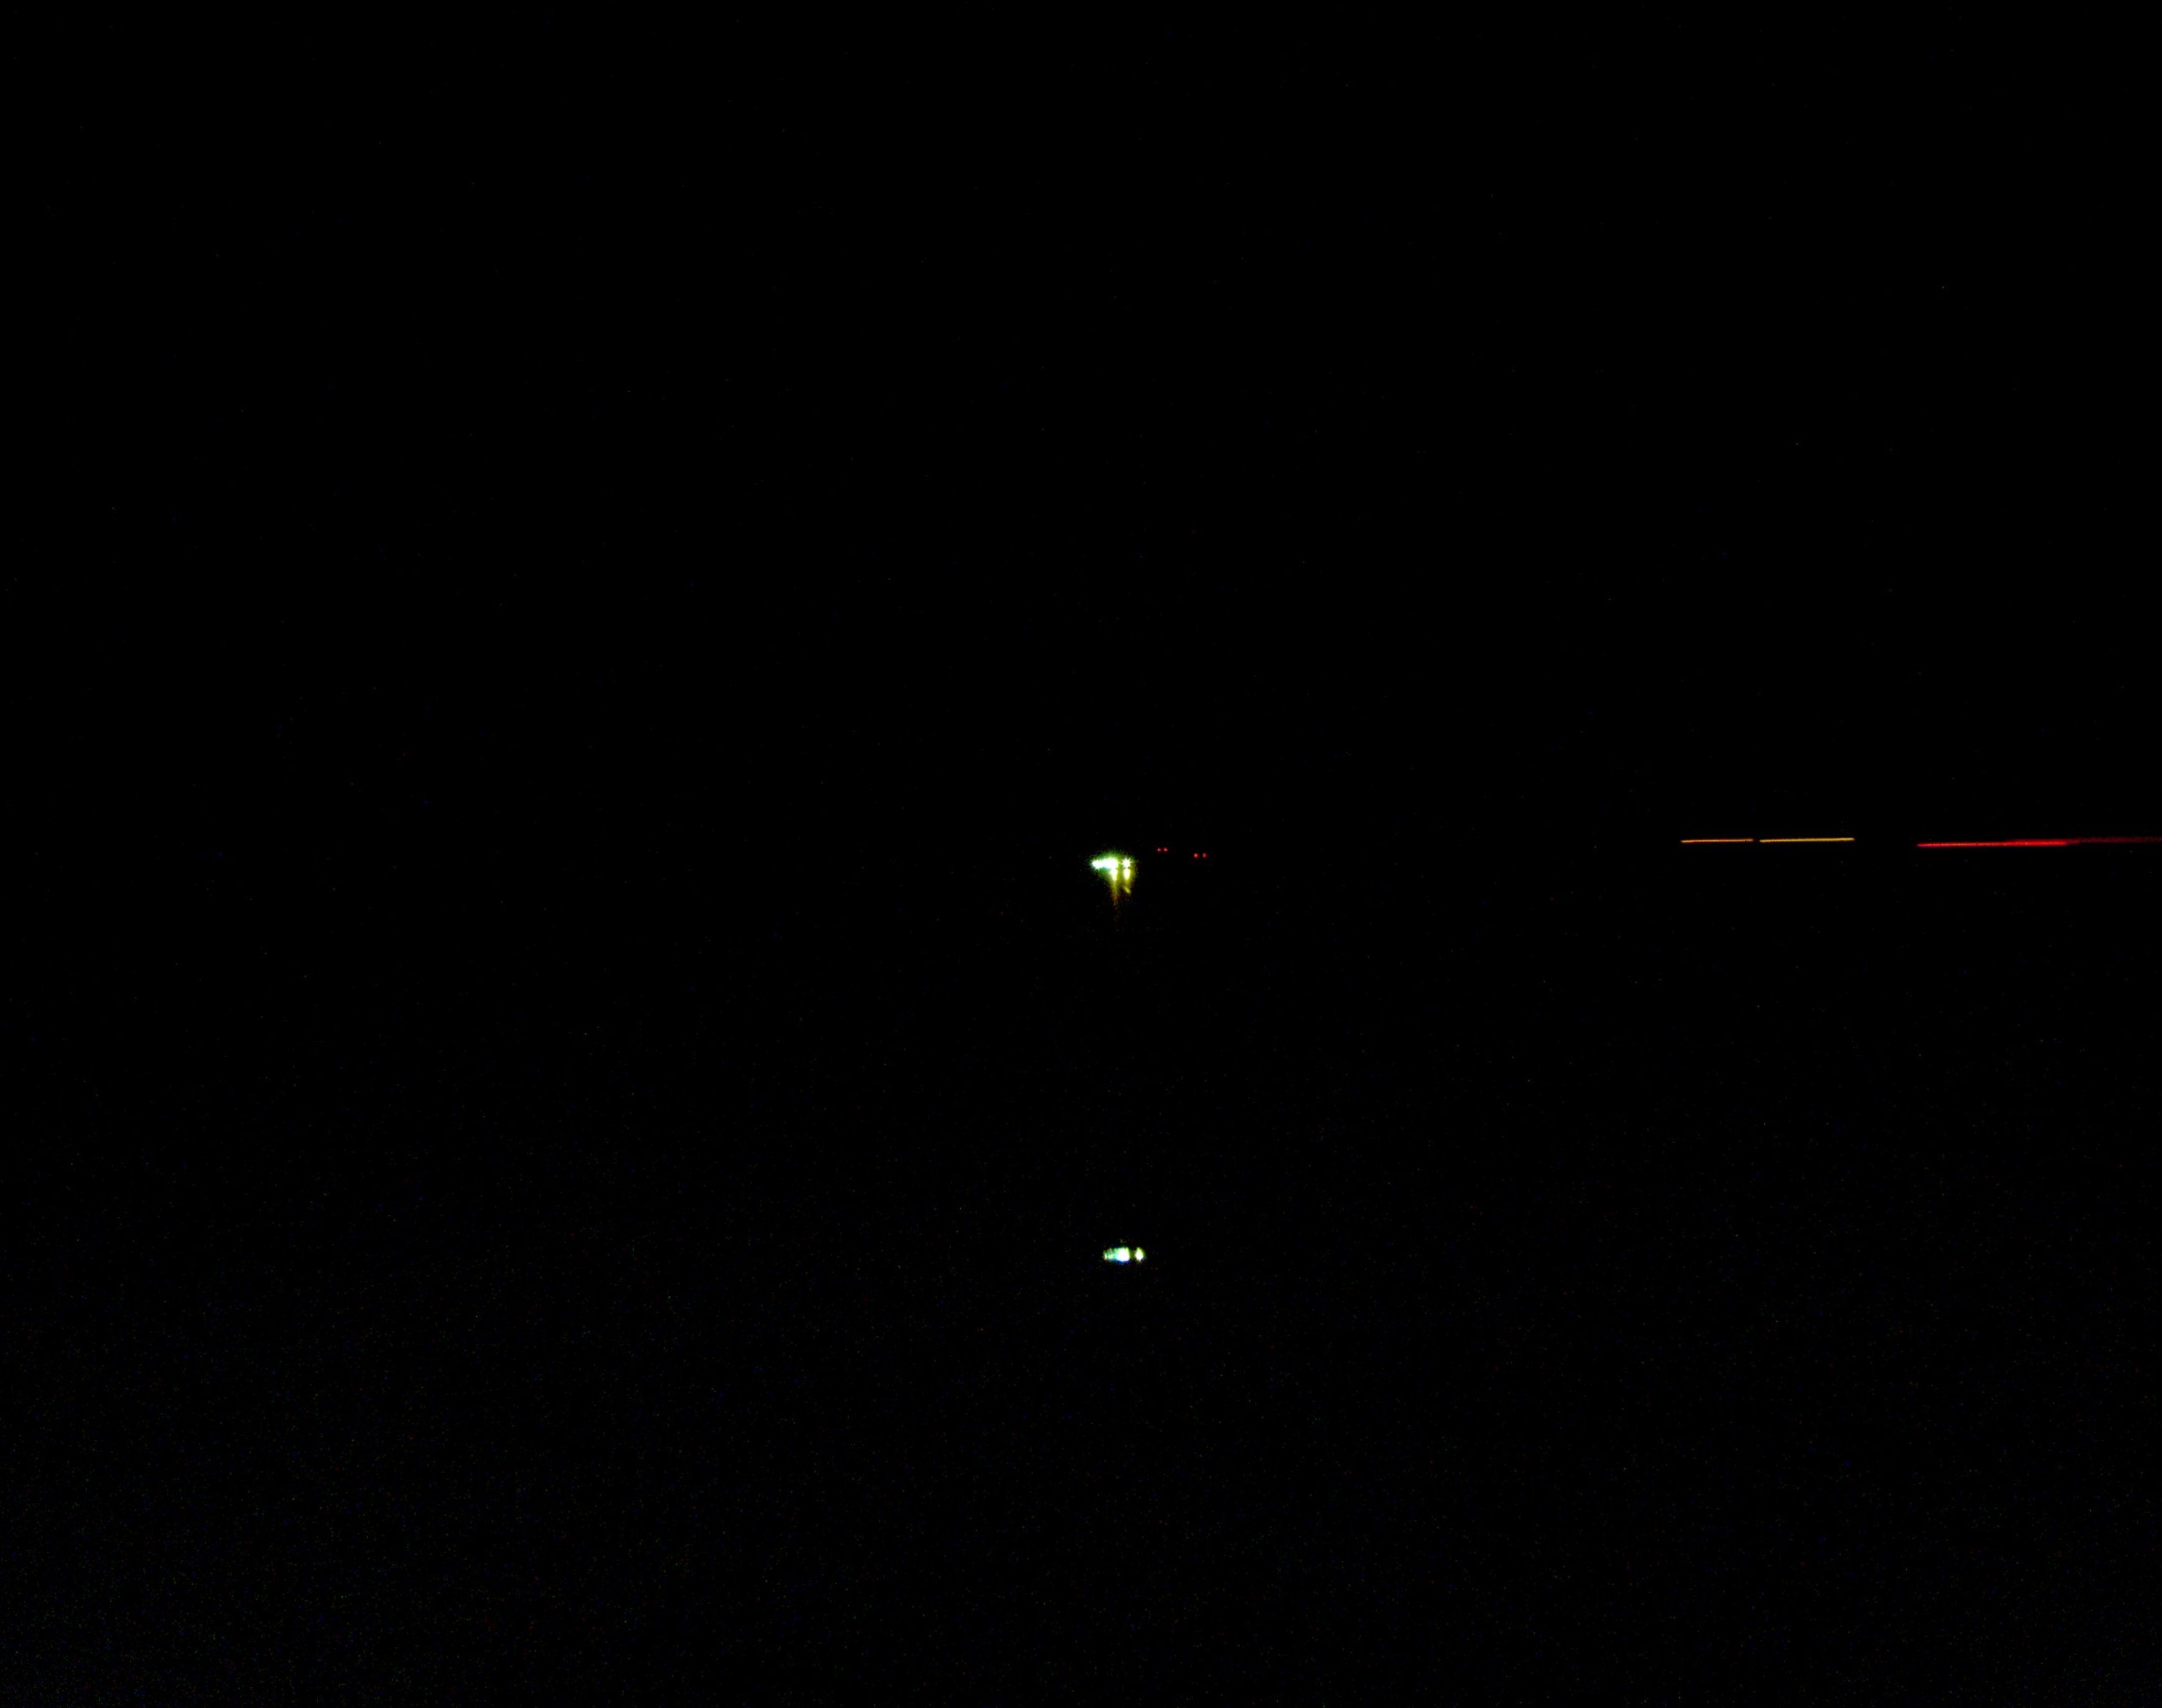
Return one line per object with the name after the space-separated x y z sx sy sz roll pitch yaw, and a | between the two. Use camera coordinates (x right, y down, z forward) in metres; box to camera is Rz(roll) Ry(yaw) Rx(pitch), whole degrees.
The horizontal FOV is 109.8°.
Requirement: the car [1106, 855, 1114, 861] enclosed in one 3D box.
8.952 1.138 236.359 1.999 1.724 4.222 -2 2 -2 | car

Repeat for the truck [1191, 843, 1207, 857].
26.051 -0.878 168.062 2.202 2.709 7.625 -5 -1 2 | truck

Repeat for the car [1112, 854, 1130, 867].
4.809 0.750 92.184 1.998 1.422 4.330 -5 0 2 | car

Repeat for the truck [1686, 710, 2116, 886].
21.937 -1.254 21.524 2.525 3.829 9.065 -2 0 2 | truck
